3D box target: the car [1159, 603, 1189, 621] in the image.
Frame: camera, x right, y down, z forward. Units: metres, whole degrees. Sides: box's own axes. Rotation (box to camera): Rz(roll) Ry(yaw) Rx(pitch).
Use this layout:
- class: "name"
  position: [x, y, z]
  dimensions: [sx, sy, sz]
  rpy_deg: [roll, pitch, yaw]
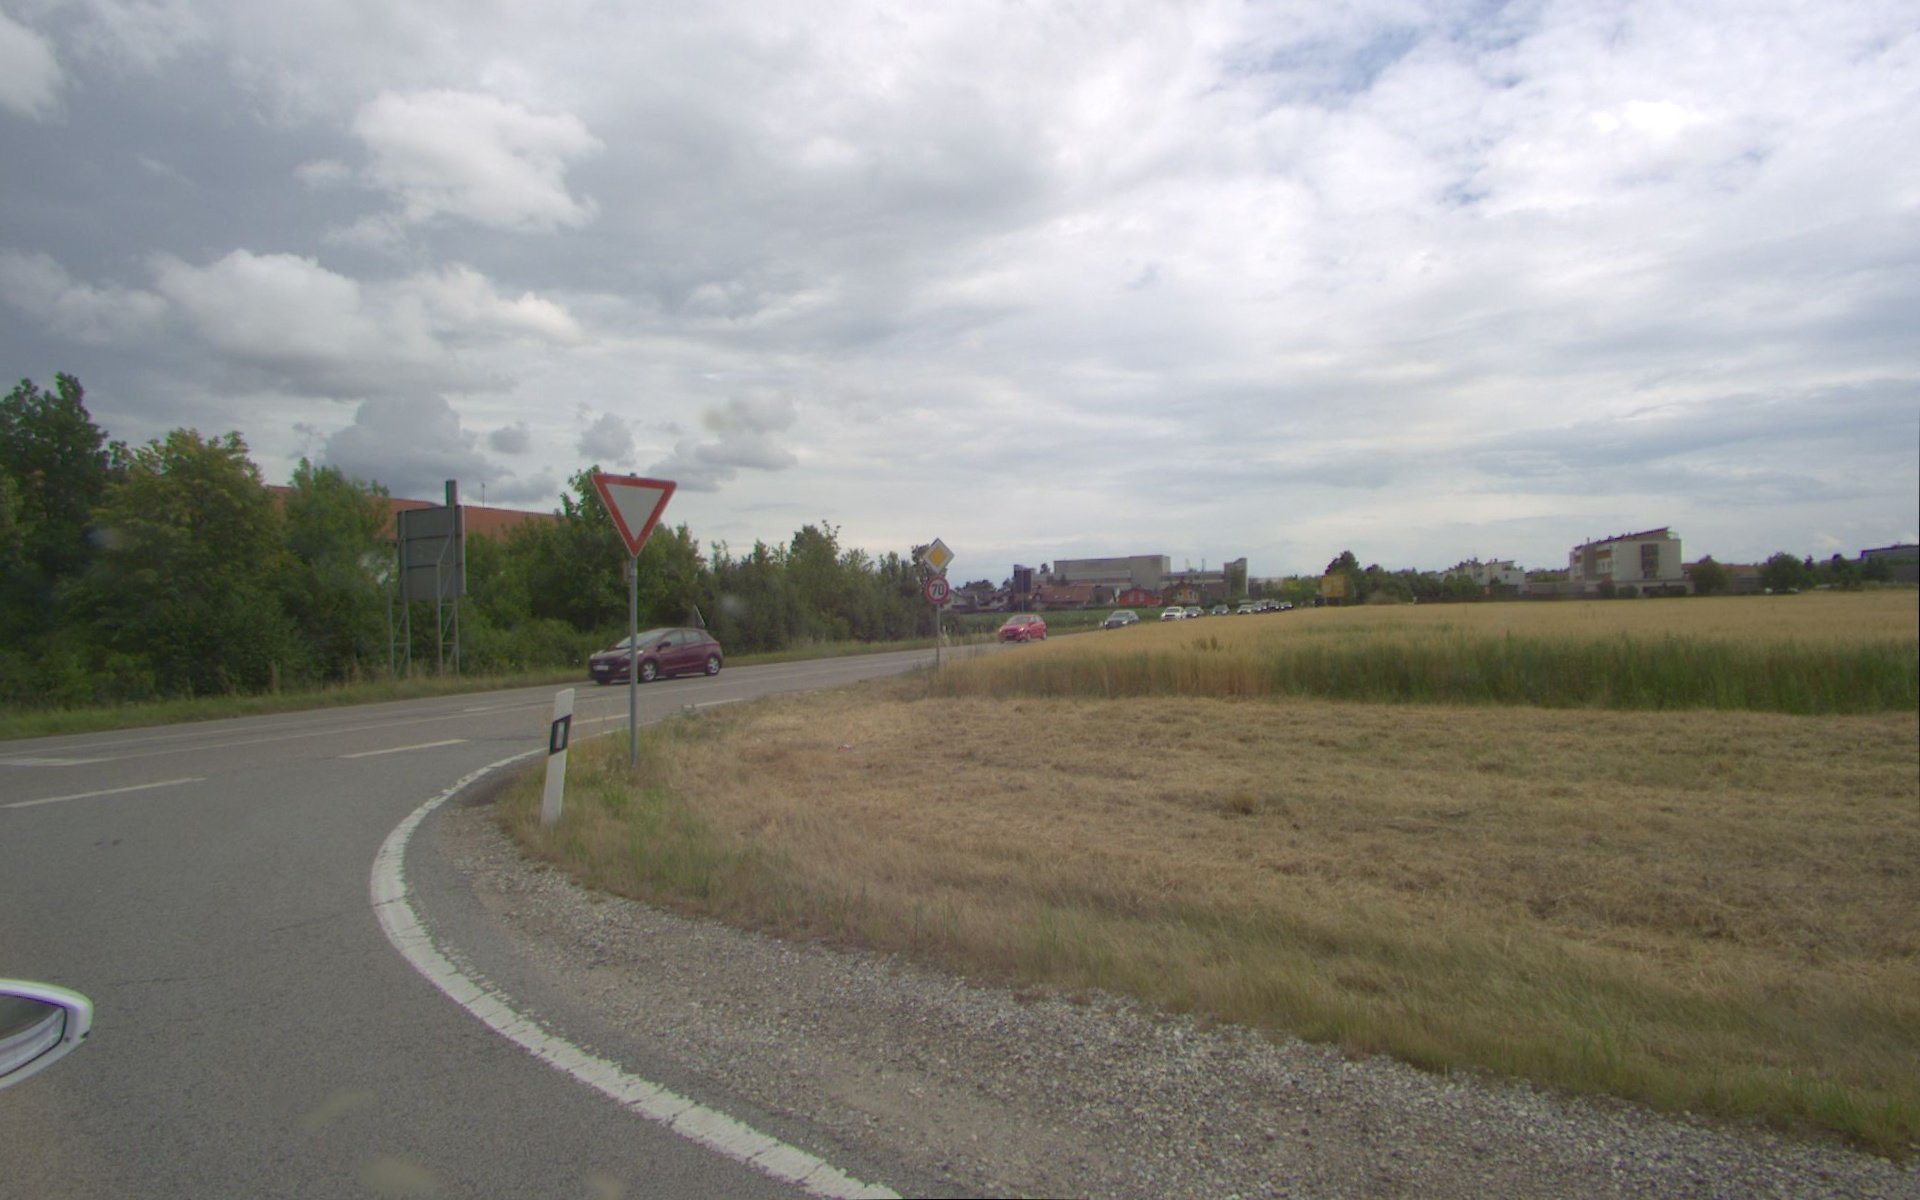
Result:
- class: "car"
  position: [19.048, 1.021, 89.001]
  dimensions: [1.825, 1.486, 3.988]
  rpy_deg: [-1, 0, 23]

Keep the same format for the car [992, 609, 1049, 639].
- class: "car"
  position: [3.346, 1.287, 54.873]
  dimensions: [1.826, 1.486, 3.987]
  rpy_deg: [-1, 0, 24]

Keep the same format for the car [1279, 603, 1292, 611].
- class: "car"
  position: [56.750, 1.259, 174.429]
  dimensions: [1.825, 1.287, 3.519]
  rpy_deg: [-1, 0, 23]

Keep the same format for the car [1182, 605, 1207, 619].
- class: "car"
  position: [23.274, 1.207, 99.500]
  dimensions: [1.825, 1.287, 3.519]
  rpy_deg: [-1, 0, 23]

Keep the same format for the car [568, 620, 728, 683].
- class: "car"
  position: [-8.617, 1.397, 28.033]
  dimensions: [1.968, 1.483, 4.146]
  rpy_deg: [-2, 0, 26]

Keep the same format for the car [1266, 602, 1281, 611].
- class: "car"
  position: [49.294, 1.069, 157.384]
  dimensions: [1.825, 1.287, 3.519]
  rpy_deg: [-1, 0, 23]

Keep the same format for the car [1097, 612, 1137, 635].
- class: "car"
  position: [11.138, 1.636, 70.848]
  dimensions: [1.826, 1.486, 3.987]
  rpy_deg: [-1, 0, 24]

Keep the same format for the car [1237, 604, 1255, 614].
- class: "car"
  position: [37.241, 1.156, 130.339]
  dimensions: [1.825, 1.287, 3.519]
  rpy_deg: [-1, 0, 23]

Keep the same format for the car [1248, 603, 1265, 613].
- class: "car"
  position: [41.561, 1.122, 140.364]
  dimensions: [1.825, 1.287, 3.519]
  rpy_deg: [-1, 0, 23]

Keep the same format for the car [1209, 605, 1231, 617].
- class: "car"
  position: [29.192, 1.224, 112.328]
  dimensions: [1.825, 1.287, 3.519]
  rpy_deg: [-1, 0, 23]

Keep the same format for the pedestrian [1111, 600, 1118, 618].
- class: "pedestrian"
  position: [15.000, 0.867, 97.028]
  dimensions: [0.521, 1.705, 0.626]
  rpy_deg: [0, 1, 20]
